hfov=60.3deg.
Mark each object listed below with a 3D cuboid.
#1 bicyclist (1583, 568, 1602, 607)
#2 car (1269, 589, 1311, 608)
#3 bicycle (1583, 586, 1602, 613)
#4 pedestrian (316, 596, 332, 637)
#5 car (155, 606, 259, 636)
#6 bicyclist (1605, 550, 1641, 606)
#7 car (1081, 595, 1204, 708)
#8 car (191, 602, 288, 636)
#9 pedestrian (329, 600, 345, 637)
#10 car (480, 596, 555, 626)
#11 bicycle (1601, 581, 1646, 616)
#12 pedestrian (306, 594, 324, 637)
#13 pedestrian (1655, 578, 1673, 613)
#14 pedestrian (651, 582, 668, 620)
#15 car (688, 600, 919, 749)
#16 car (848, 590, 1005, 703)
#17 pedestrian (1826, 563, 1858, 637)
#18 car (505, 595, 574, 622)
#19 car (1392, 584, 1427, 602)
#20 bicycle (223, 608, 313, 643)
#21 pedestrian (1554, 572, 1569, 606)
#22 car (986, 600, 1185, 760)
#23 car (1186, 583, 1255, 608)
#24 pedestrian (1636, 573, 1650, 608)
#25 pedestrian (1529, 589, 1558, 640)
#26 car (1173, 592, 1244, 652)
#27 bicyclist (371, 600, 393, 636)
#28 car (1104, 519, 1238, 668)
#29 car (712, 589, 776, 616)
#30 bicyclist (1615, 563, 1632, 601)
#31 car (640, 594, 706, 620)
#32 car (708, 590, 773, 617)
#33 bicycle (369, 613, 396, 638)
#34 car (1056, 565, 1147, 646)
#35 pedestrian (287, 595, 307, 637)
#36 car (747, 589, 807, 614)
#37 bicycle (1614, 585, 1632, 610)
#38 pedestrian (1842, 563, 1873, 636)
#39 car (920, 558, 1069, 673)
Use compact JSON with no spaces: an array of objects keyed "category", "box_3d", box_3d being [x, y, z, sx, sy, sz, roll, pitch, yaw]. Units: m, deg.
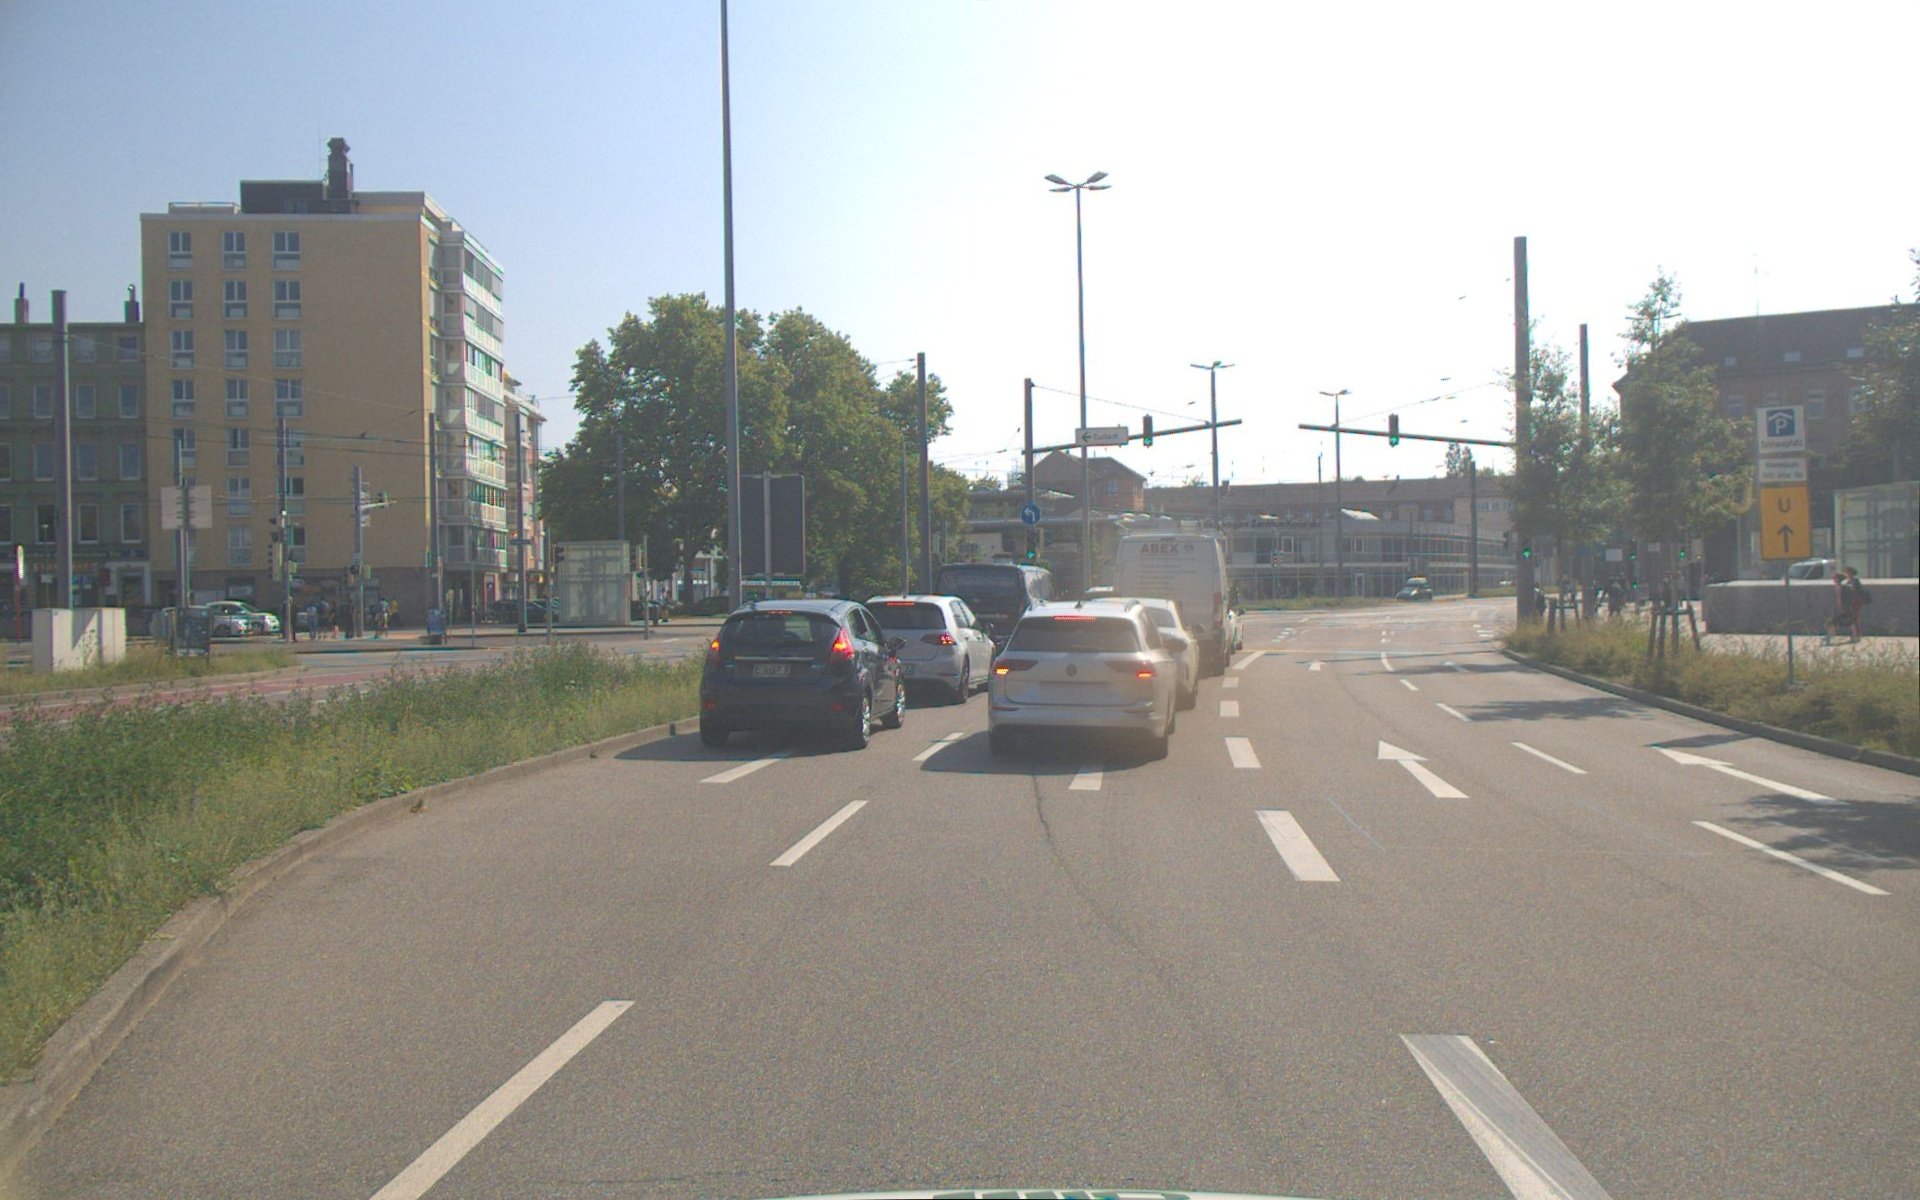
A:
[{"category":"bicyclist","box_3d":[26.111,-0.520,68.306,0.698,1.556,0.806,-1,0,23]},{"category":"car","box_3d":[26.048,-0.121,130.530,1.958,1.467,3.989,-1,0,33]},{"category":"bicycle","box_3d":[26.129,-0.047,68.320,0.691,1.080,1.982,-1,0,22]},{"category":"pedestrian","box_3d":[-26.773,0.684,69.599,0.452,1.714,0.434,-3,3,-42]},{"category":"car","box_3d":[-32.623,0.917,71.701,3.751,1.200,1.575,-1,-2,-1]},{"category":"bicyclist","box_3d":[19.387,-0.635,48.399,0.755,1.606,0.991,0,0,8]},{"category":"car","box_3d":[2.596,0.663,22.941,1.457,1.427,3.945,0,0,10]},{"category":"car","box_3d":[-32.517,0.847,74.742,3.663,1.417,1.586,-1,0,-4]},{"category":"pedestrian","box_3d":[-26.338,0.777,69.919,0.495,1.513,0.434,-3,3,-42]},{"category":"car","box_3d":[-25.885,0.641,96.904,3.907,1.584,1.868,-1,3,-3]},{"category":"bicycle","box_3d":[19.395,-0.043,48.385,0.755,0.993,2.152,0,0,8]},{"category":"pedestrian","box_3d":[-26.667,0.636,68.402,0.445,1.714,0.548,0,2,8]},{"category":"pedestrian","box_3d":[31.299,-0.206,73.532,0.731,1.556,0.806,-1,0,23]},{"category":"pedestrian","box_3d":[-16.656,0.054,91.645,0.805,2.049,0.509,-1,0,-2]},{"category":"car","box_3d":[-1.533,0.704,17.584,1.665,1.392,3.966,0,0,6]},{"category":"car","box_3d":[-0.404,0.605,23.621,1.457,1.440,3.651,-1,1,12]},{"category":"pedestrian","box_3d":[20.203,0.005,37.875,0.603,1.667,0.533,-1,0,30]},{"category":"car","box_3d":[-26.454,0.537,104.103,3.909,1.585,1.867,-1,0,-5]},{"category":"car","box_3d":[37.485,-0.575,137.846,1.955,1.467,3.994,-1,0,28]},{"category":"bicycle","box_3d":[-34.630,1.258,82.858,3.910,1.578,1.195,-1,3,-6]},{"category":"pedestrian","box_3d":[36.005,-0.656,99.009,0.731,2.049,0.806,-1,0,23]},{"category":"car","box_3d":[1.356,0.716,16.526,1.649,1.412,3.637,0,0,10]},{"category":"car","box_3d":[15.645,-0.278,99.458,3.882,1.366,1.931,-1,0,4]},{"category":"pedestrian","box_3d":[39.703,-0.554,96.190,0.731,2.049,0.806,-1,0,23]},{"category":"pedestrian","box_3d":[16.066,0.406,45.549,0.622,1.386,0.634,-1,0,6]},{"category":"car","box_3d":[6.292,0.529,41.655,1.602,1.428,3.690,-1,0,11]},{"category":"bicyclist","box_3d":[-24.248,0.753,69.428,0.712,1.459,0.689,-1,0,-8]},{"category":"car","box_3d":[4.076,-0.092,31.342,2.142,2.594,4.687,-1,0,12]},{"category":"car","box_3d":[-14.093,0.142,108.210,3.905,1.646,1.813,-1,0,0]},{"category":"bicyclist","box_3d":[32.281,-0.873,80.517,0.731,1.817,1.113,-1,0,23]},{"category":"car","box_3d":[-18.056,0.446,104.242,3.909,1.585,1.726,-1,0,-5]},{"category":"car","box_3d":[-14.094,0.191,106.255,3.905,1.646,1.813,-1,0,0]},{"category":"bicycle","box_3d":[-24.248,1.045,69.415,0.714,1.001,1.729,-1,0,-8]},{"category":"car","box_3d":[3.856,0.128,44.446,1.980,2.043,4.688,-1,0,10]},{"category":"pedestrian","box_3d":[-27.234,0.648,67.924,0.445,1.714,0.547,0,3,21]},{"category":"car","box_3d":[-12.341,0.108,111.613,3.909,1.585,1.726,-1,0,-5]},{"category":"bicycle","box_3d":[32.284,-0.126,80.528,0.731,1.168,2.866,-1,0,22]},{"category":"pedestrian","box_3d":[20.765,-0.012,38.270,0.603,1.657,0.533,-1,0,30]},{"category":"car","box_3d":[0.755,0.273,31.810,1.980,2.043,4.688,-1,0,12]}]
